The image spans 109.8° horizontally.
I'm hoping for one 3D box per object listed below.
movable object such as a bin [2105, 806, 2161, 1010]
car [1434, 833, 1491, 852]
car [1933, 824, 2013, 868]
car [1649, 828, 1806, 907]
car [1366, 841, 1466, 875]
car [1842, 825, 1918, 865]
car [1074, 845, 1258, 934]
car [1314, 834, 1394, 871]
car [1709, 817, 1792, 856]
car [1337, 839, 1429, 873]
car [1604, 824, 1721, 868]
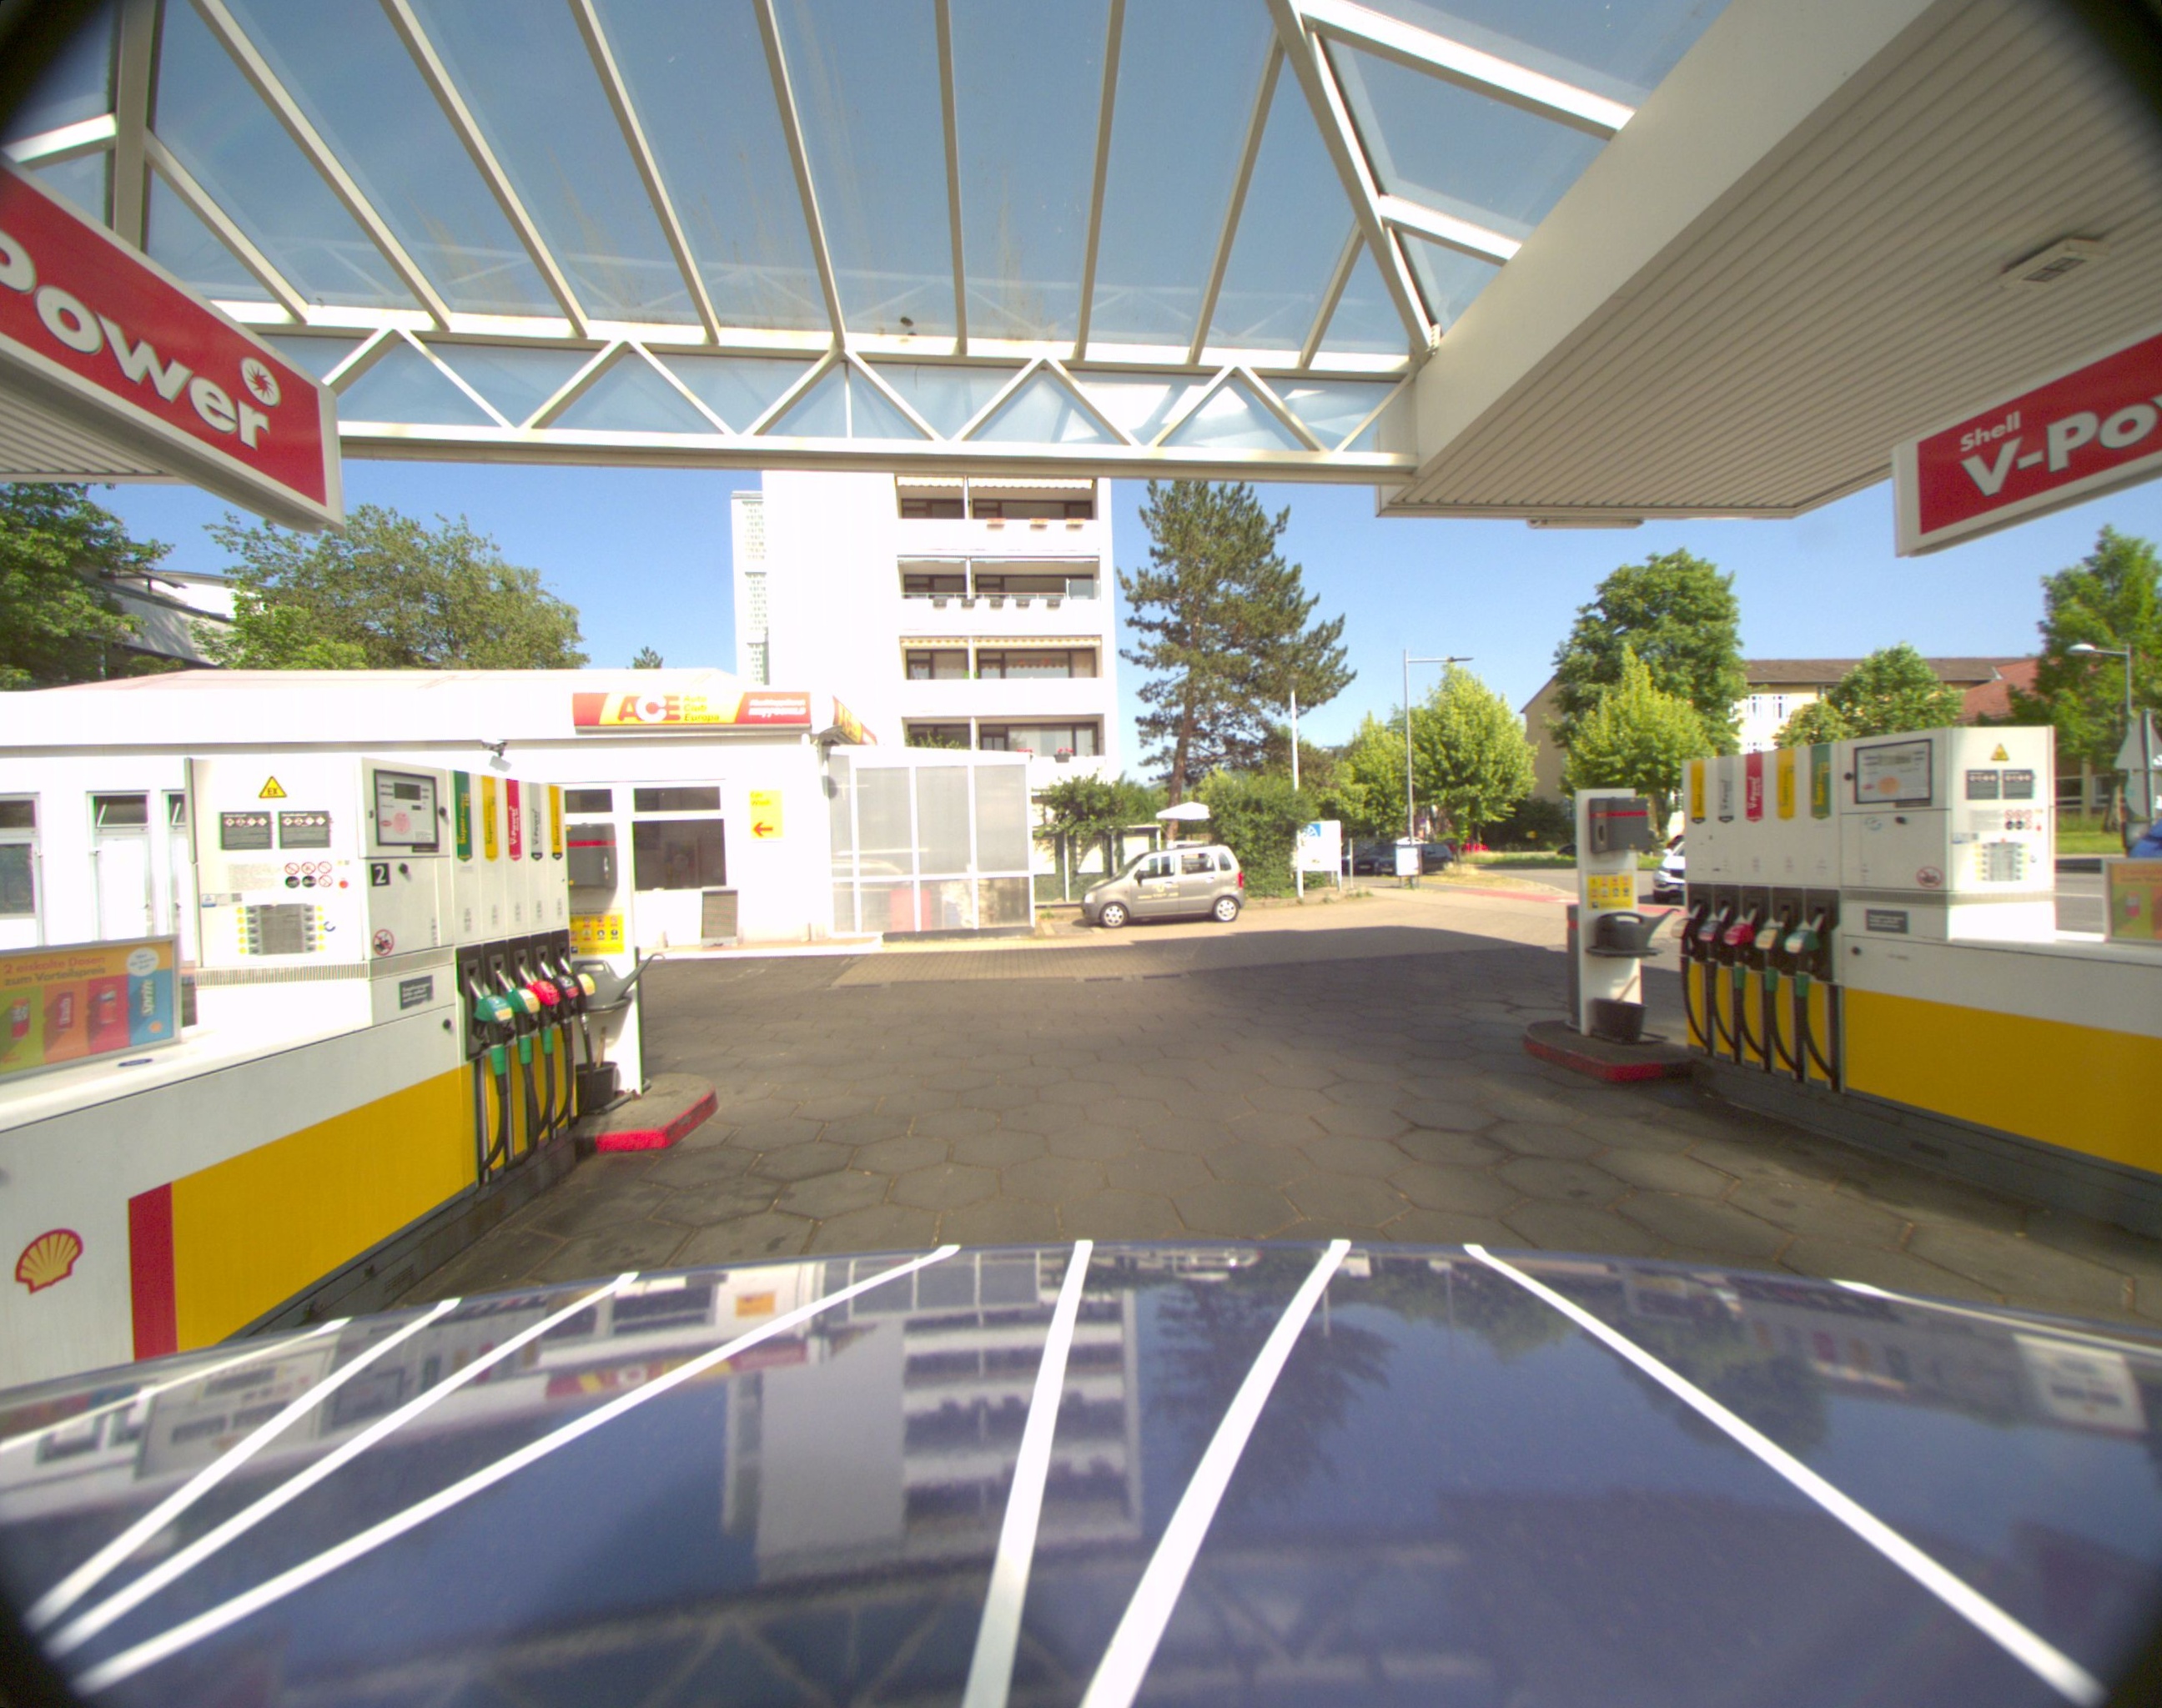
[{"bbox_3d":[9.570,0.451,5.932,1.342,1.678,1.336,0,1,-5],"label":"movable object such as a bin"},{"bbox_3d":[28.445,-0.858,56.673,3.731,1.383,1.877,-1,2,-24],"label":"car"},{"bbox_3d":[31.614,-0.293,27.009,4.234,1.451,1.737,-1,1,-42],"label":"car"},{"bbox_3d":[16.124,0.281,18.886,4.314,1.697,1.957,-2,1,-36],"label":"car"},{"bbox_3d":[14.468,0.133,32.773,4.233,1.409,1.876,-1,1,-32],"label":"car"},{"bbox_3d":[31.425,-0.370,29.858,4.234,1.451,1.876,-1,2,-42],"label":"car"},{"bbox_3d":[1.777,0.713,16.560,3.661,1.608,1.691,-3,1,-4],"label":"car"},{"bbox_3d":[13.720,-0.107,38.099,4.411,1.710,1.700,-2,2,-38],"label":"car"},{"bbox_3d":[30.955,-0.813,35.104,4.233,1.713,1.876,-1,2,-35],"label":"car"},{"bbox_3d":[14.182,0.055,35.584,4.233,1.473,1.876,-1,1,-32],"label":"car"},{"bbox_3d":[25.629,-0.389,33.719,1.998,1.759,4.391,-2,1,3],"label":"car"}]
